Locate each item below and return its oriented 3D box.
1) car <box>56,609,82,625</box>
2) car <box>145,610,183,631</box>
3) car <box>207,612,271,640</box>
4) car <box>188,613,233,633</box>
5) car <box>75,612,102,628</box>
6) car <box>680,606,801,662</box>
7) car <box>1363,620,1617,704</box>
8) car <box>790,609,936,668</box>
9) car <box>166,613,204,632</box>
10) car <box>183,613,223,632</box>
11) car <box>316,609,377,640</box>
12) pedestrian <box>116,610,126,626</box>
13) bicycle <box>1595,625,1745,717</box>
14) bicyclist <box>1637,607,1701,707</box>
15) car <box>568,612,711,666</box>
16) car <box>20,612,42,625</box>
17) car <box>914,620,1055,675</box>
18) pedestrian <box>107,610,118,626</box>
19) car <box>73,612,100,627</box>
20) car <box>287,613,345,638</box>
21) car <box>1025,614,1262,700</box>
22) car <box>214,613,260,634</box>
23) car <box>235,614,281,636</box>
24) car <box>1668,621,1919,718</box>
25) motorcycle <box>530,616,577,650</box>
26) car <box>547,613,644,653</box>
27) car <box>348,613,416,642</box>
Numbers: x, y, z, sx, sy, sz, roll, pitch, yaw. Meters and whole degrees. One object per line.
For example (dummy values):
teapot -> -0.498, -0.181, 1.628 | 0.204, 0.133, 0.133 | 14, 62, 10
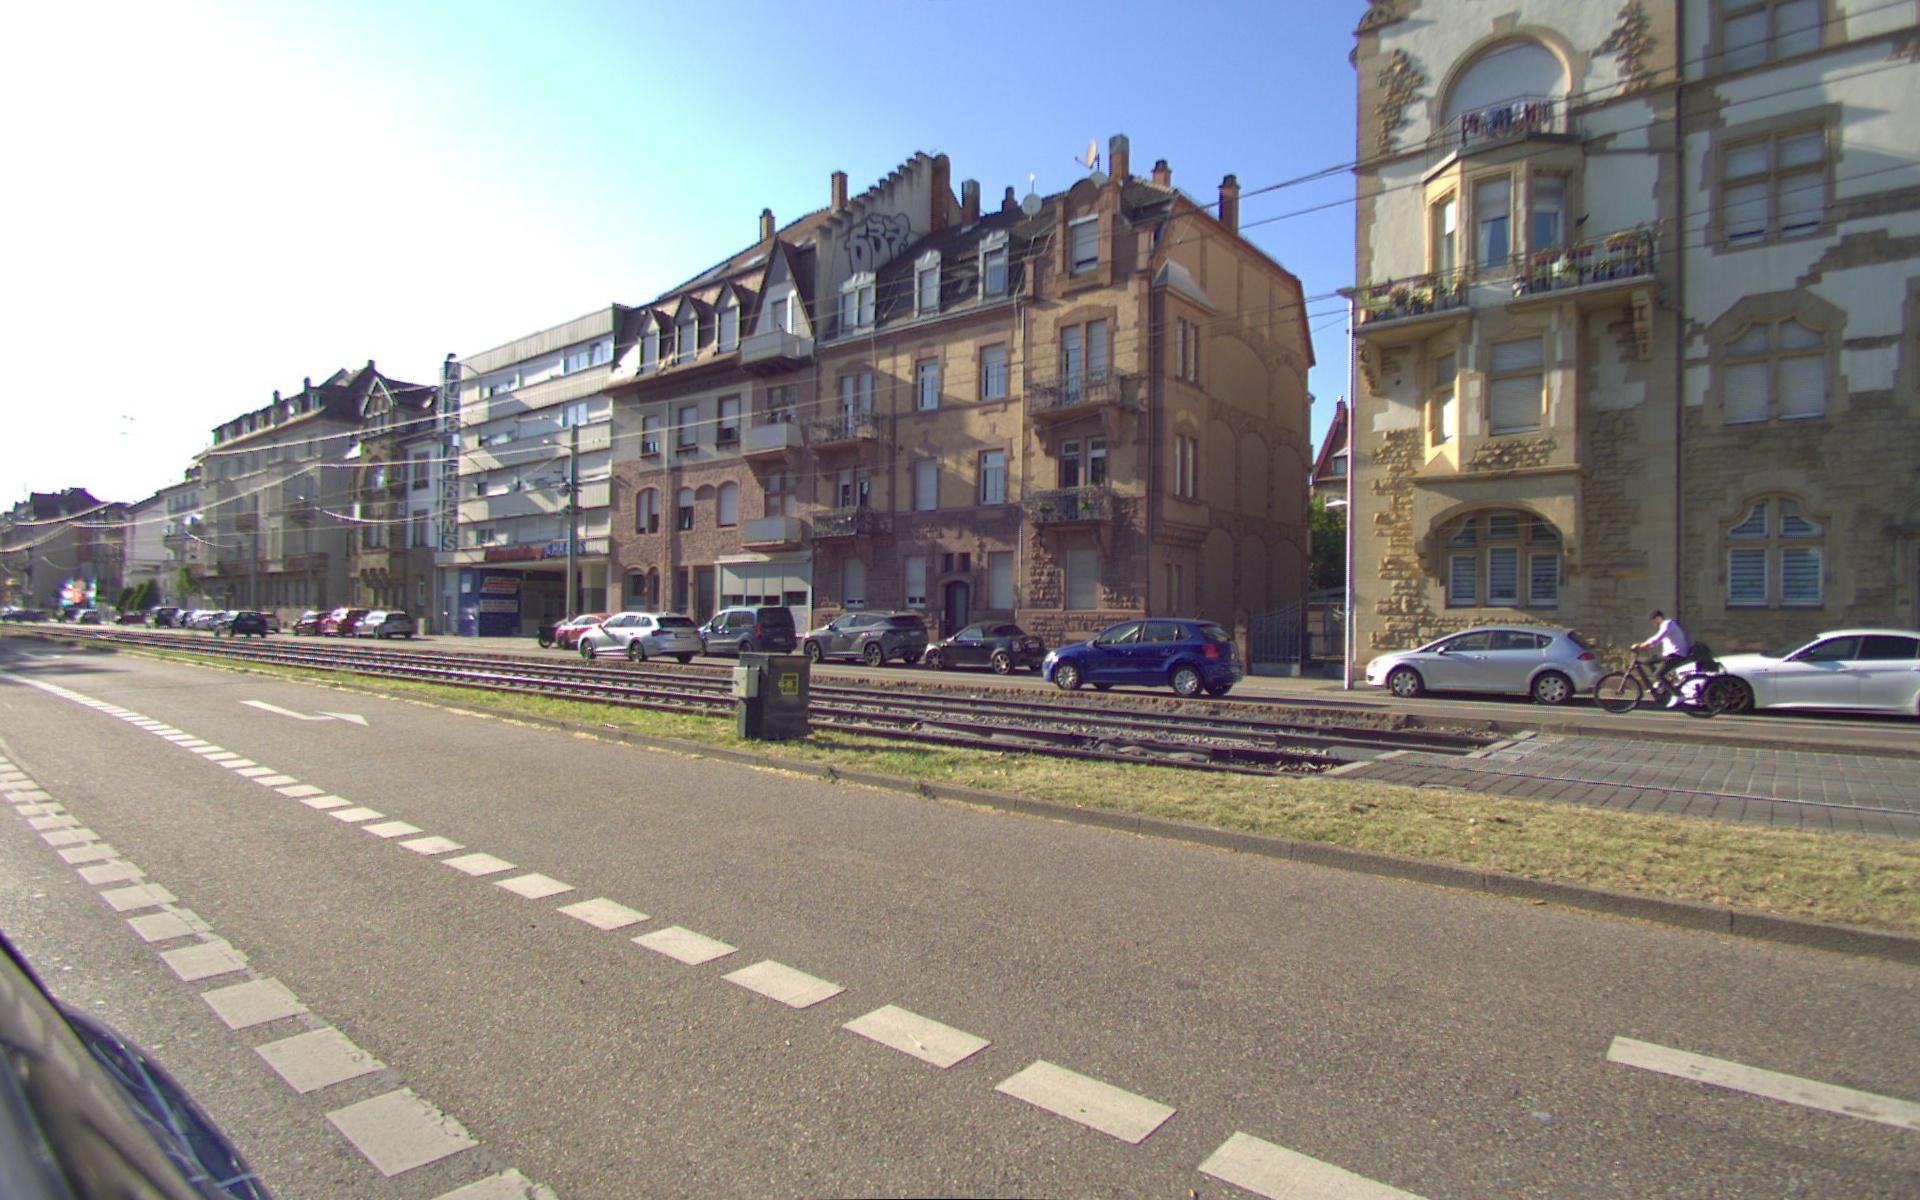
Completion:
car -> -101.162, 1.930, 114.879 | 3.878, 1.800, 1.706 | 0, 0, 40
car -> -69.001, 1.752, 87.701 | 3.913, 1.750, 1.852 | -1, 0, 41
car -> -39.575, 1.423, 55.540 | 4.161, 1.468, 1.802 | 0, -2, 39
car -> -56.914, 1.717, 76.863 | 3.529, 1.457, 1.624 | -1, 0, 33
car -> -89.780, 2.029, 104.258 | 3.406, 1.644, 1.656 | -1, 0, 41
car -> -7.650, 1.119, 35.097 | 4.417, 1.772, 1.865 | -1, 1, 42
car -> 10.414, 1.151, 20.027 | 4.217, 1.441, 1.693 | -1, 0, 38
car -> -3.055, 1.150, 31.266 | 4.498, 1.635, 1.838 | -1, 1, 39
car -> -64.718, 1.845, 84.460 | 3.820, 1.490, 1.779 | -1, 0, 41
car -> -60.161, 1.785, 80.451 | 3.820, 1.490, 1.779 | -1, 0, 41
car -> -36.318, 1.433, 59.876 | 4.261, 1.700, 1.837 | -1, 0, 41
pedestrian -> -93.002, 2.007, 112.188 | 0.677, 1.803, 0.716 | -1, -2, 39
bicycle -> 11.582, 1.122, 16.549 | 1.946, 1.392, 0.677 | -1, -2, 41
bicyclist -> 11.593, 0.916, 16.547 | 0.785, 1.575, 0.677 | -1, -2, 41
car -> -9.478, 1.117, 29.772 | 4.535, 1.468, 1.802 | 0, -2, 39
car -> -117.378, 2.285, 127.882 | 3.447, 1.602, 1.603 | 0, 0, 40
car -> 0.645, 1.276, 28.138 | 3.722, 1.364, 1.606 | -1, 1, 39
pedestrian -> -93.443, 1.995, 111.593 | 0.677, 1.803, 0.716 | -1, -2, 39
car -> -93.466, 2.039, 108.235 | 3.386, 1.583, 1.663 | 0, 0, 40
car -> -40.203, 1.562, 63.157 | 3.720, 1.507, 1.737 | -1, 0, 34
car -> 3.486, 1.026, 19.496 | 4.148, 1.468, 1.804 | 0, -2, 36
car -> -53.293, 1.707, 74.574 | 3.818, 1.441, 1.780 | -1, 0, 38
car -> -49.263, 1.714, 71.001 | 3.820, 1.490, 1.779 | -1, 0, 41
car -> 14.645, 1.096, 16.801 | 4.650, 1.434, 1.700 | -1, 0, 39
motorcycle -> -17.763, 1.435, 44.236 | 0.628, 1.433, 1.836 | -2, 0, 40
car -> -15.052, 1.319, 41.714 | 4.206, 1.510, 1.838 | -1, 1, 39
car -> -32.246, 1.505, 56.403 | 4.377, 1.510, 1.838 | -1, 0, 39
